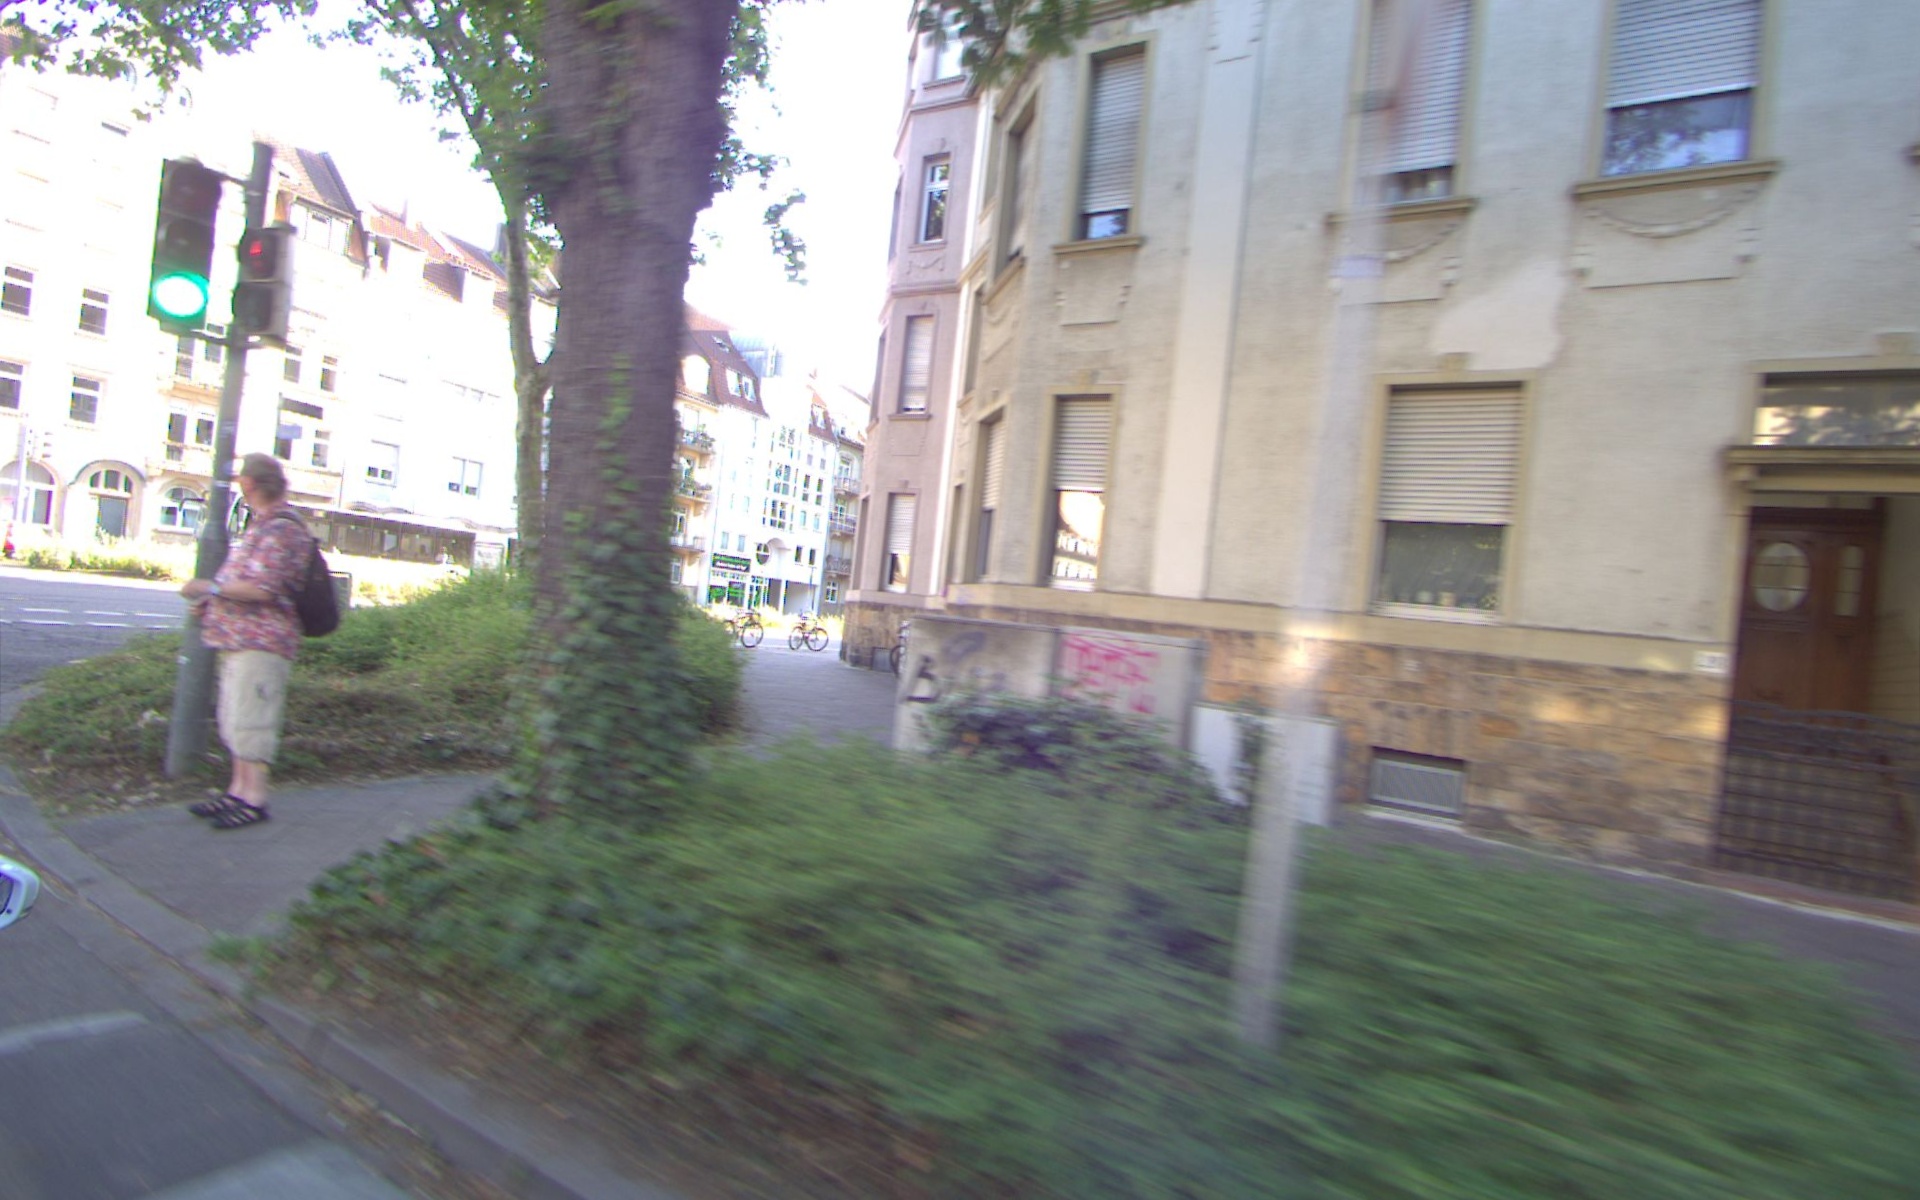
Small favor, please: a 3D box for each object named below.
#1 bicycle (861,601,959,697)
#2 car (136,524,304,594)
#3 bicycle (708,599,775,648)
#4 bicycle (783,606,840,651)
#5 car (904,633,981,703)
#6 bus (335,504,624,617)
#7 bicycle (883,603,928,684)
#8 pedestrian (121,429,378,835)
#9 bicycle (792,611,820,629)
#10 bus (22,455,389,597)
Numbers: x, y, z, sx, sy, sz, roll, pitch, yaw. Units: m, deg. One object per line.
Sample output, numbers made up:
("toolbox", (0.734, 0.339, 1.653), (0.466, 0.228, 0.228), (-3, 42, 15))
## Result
("bicycle", (-0.964, 0.828, 18.095), (0.939, 1.489, 3.150), (7, -2, -15))
("car", (-24.735, -1.328, 33.754), (1.905, 1.703, 3.994), (6, -2, 32))
("bicycle", (-5.314, 0.592, 24.569), (0.364, 1.081, 1.872), (6, -1, 28))
("bicycle", (-4.014, 0.798, 27.347), (0.430, 1.111, 1.931), (6, -1, 25))
("car", (-0.271, 0.994, 14.973), (0.911, 0.960, 1.063), (3, -1, -13))
("bus", (-21.245, -1.557, 45.796), (3.210, 3.412, 11.967), (6, -2, 29))
("bicycle", (-1.042, 0.776, 18.813), (0.365, 1.412, 1.928), (6, -1, -13))
("pedestrian", (-3.505, 0.152, 4.980), (0.656, 1.827, 0.700), (6, -1, 37))
("bicycle", (-11.538, 1.513, 75.368), (0.749, 1.046, 1.886), (13, 3, 42))
("bus", (-26.549, -2.430, 36.263), (3.221, 3.412, 9.890), (6, -2, 30))
